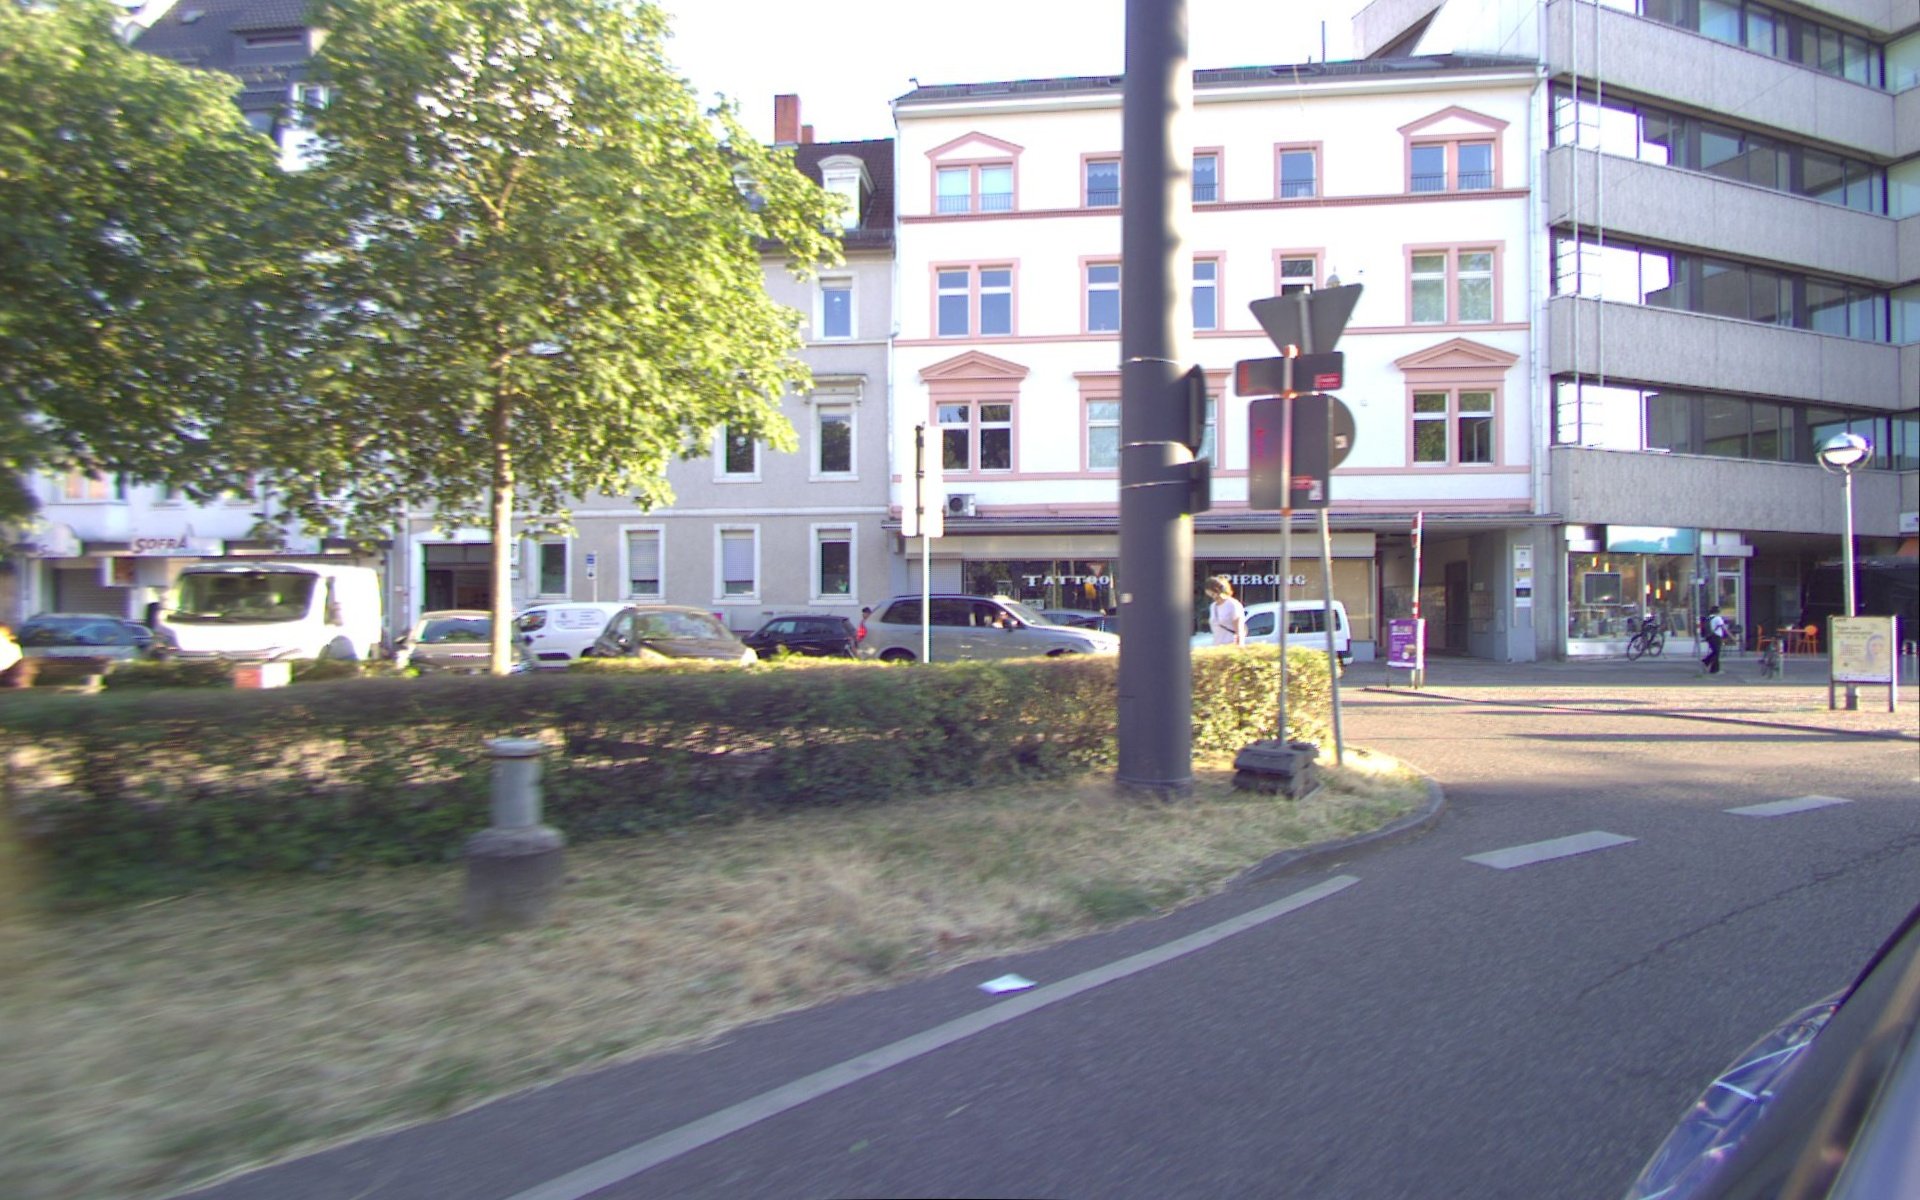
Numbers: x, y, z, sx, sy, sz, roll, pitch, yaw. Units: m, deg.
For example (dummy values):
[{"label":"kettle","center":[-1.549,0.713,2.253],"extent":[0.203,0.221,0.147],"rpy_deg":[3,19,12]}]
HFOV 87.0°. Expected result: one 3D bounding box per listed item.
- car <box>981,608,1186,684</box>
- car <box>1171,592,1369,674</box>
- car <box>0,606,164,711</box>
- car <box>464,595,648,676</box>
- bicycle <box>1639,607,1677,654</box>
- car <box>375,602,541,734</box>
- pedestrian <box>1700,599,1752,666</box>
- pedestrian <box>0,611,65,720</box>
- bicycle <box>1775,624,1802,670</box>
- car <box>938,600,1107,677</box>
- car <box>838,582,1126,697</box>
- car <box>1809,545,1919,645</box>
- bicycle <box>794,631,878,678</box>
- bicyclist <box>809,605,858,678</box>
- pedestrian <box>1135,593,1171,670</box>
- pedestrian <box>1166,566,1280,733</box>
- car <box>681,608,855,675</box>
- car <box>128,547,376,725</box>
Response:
[{"label":"car","center":[2.578,0.945,21.475],"extent":[4.090,1.505,1.933],"rpy_deg":[-1,-1,7]},{"label":"car","center":[7.257,0.746,24.080],"extent":[4.155,1.806,1.930],"rpy_deg":[-1,1,6]},{"label":"car","center":[-13.744,0.845,15.669],"extent":[1.962,1.416,3.999],"rpy_deg":[0,-1,-35]},{"label":"car","center":[-10.281,0.878,25.919],"extent":[3.931,1.909,1.949],"rpy_deg":[-1,1,7]},{"label":"bicycle","center":[18.342,0.797,26.583],"extent":[1.402,1.207,0.486],"rpy_deg":[0,-2,-42]},{"label":"car","center":[-7.375,0.890,14.848],"extent":[1.912,1.625,4.004],"rpy_deg":[0,-1,-28]},{"label":"pedestrian","center":[18.158,0.756,23.989],"extent":[0.780,1.556,0.568],"rpy_deg":[-1,0,10]},{"label":"pedestrian","center":[-11.342,0.747,11.585],"extent":[0.945,1.241,1.367],"rpy_deg":[-1,-1,8]},{"label":"bicycle","center":[18.769,1.057,22.930],"extent":[0.300,1.005,1.279],"rpy_deg":[-2,-2,32]},{"label":"car","center":[1.490,0.897,24.688],"extent":[3.927,1.660,1.999],"rpy_deg":[-1,2,3]},{"label":"car","center":[0.399,0.673,17.671],"extent":[4.652,1.794,1.986],"rpy_deg":[-1,-1,21]},{"label":"car","center":[27.659,-0.148,28.472],"extent":[2.136,2.761,5.446],"rpy_deg":[0,1,-21]},{"label":"bicycle","center":[-2.851,1.248,23.306],"extent":[1.802,1.025,0.732],"rpy_deg":[-1,-1,6]},{"label":"bicyclist","center":[-2.904,0.944,23.297],"extent":[0.992,1.635,0.720],"rpy_deg":[-1,-1,5]},{"label":"pedestrian","center":[4.663,0.761,24.489],"extent":[0.781,1.823,0.638],"rpy_deg":[-1,-2,6]},{"label":"pedestrian","center":[2.915,0.526,11.234],"extent":[0.957,1.753,0.727],"rpy_deg":[0,-2,-27]},{"label":"car","center":[-4.737,1.008,25.288],"extent":[3.929,1.511,1.823],"rpy_deg":[-1,1,5]},{"label":"car","center":[-10.601,0.503,15.616],"extent":[2.051,2.269,4.889],"rpy_deg":[0,-1,-22]}]
